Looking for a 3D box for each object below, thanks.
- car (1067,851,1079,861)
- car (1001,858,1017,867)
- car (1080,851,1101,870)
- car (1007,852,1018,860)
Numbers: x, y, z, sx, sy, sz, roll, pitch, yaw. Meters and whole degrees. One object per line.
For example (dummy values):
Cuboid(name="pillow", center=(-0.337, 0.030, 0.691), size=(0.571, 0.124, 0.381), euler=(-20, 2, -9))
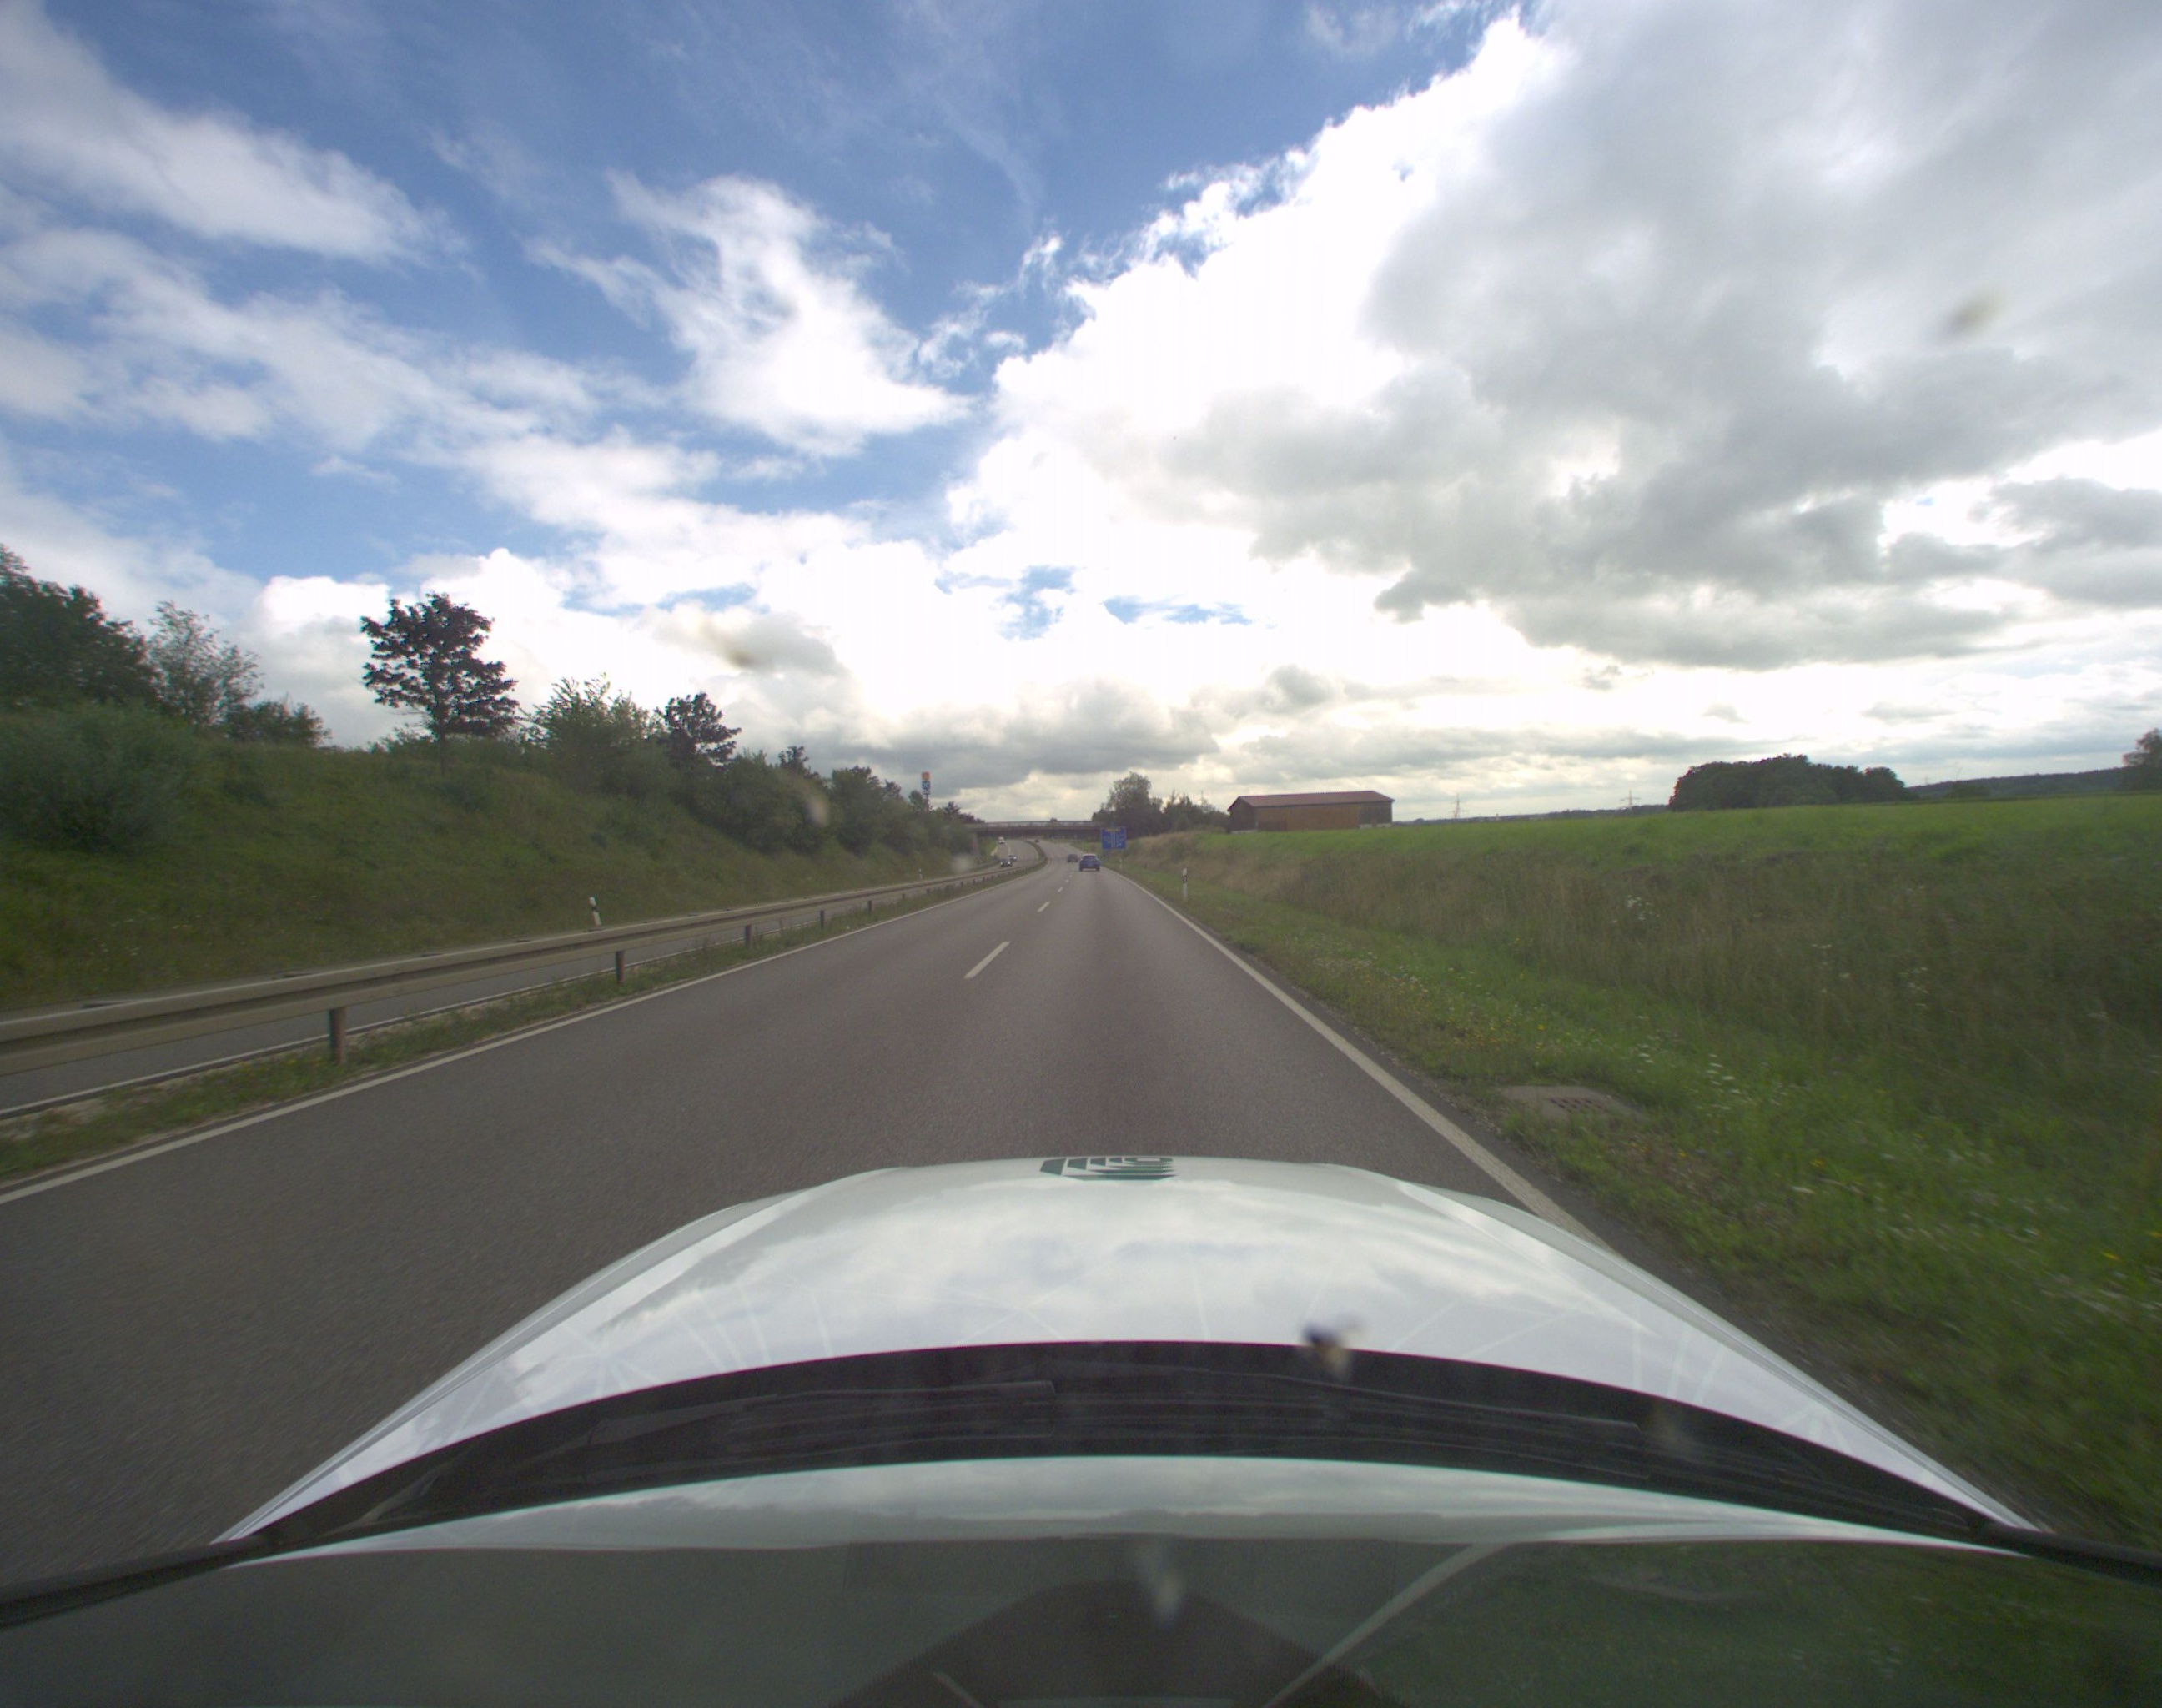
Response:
Cuboid(name="car", center=(-1.450, 0.307, 138.764), size=(1.912, 1.453, 4.361), euler=(-3, 1, -2))
Cuboid(name="car", center=(-11.410, 1.382, 129.211), size=(1.987, 1.304, 4.822), euler=(-3, 0, 0))
Cuboid(name="car", center=(0.942, 0.597, 78.954), size=(2.026, 1.660, 4.545), euler=(-1, 1, 1))
Cuboid(name="car", center=(-14.168, 0.458, 167.953), size=(1.987, 1.453, 3.999), euler=(-3, 1, -1))
